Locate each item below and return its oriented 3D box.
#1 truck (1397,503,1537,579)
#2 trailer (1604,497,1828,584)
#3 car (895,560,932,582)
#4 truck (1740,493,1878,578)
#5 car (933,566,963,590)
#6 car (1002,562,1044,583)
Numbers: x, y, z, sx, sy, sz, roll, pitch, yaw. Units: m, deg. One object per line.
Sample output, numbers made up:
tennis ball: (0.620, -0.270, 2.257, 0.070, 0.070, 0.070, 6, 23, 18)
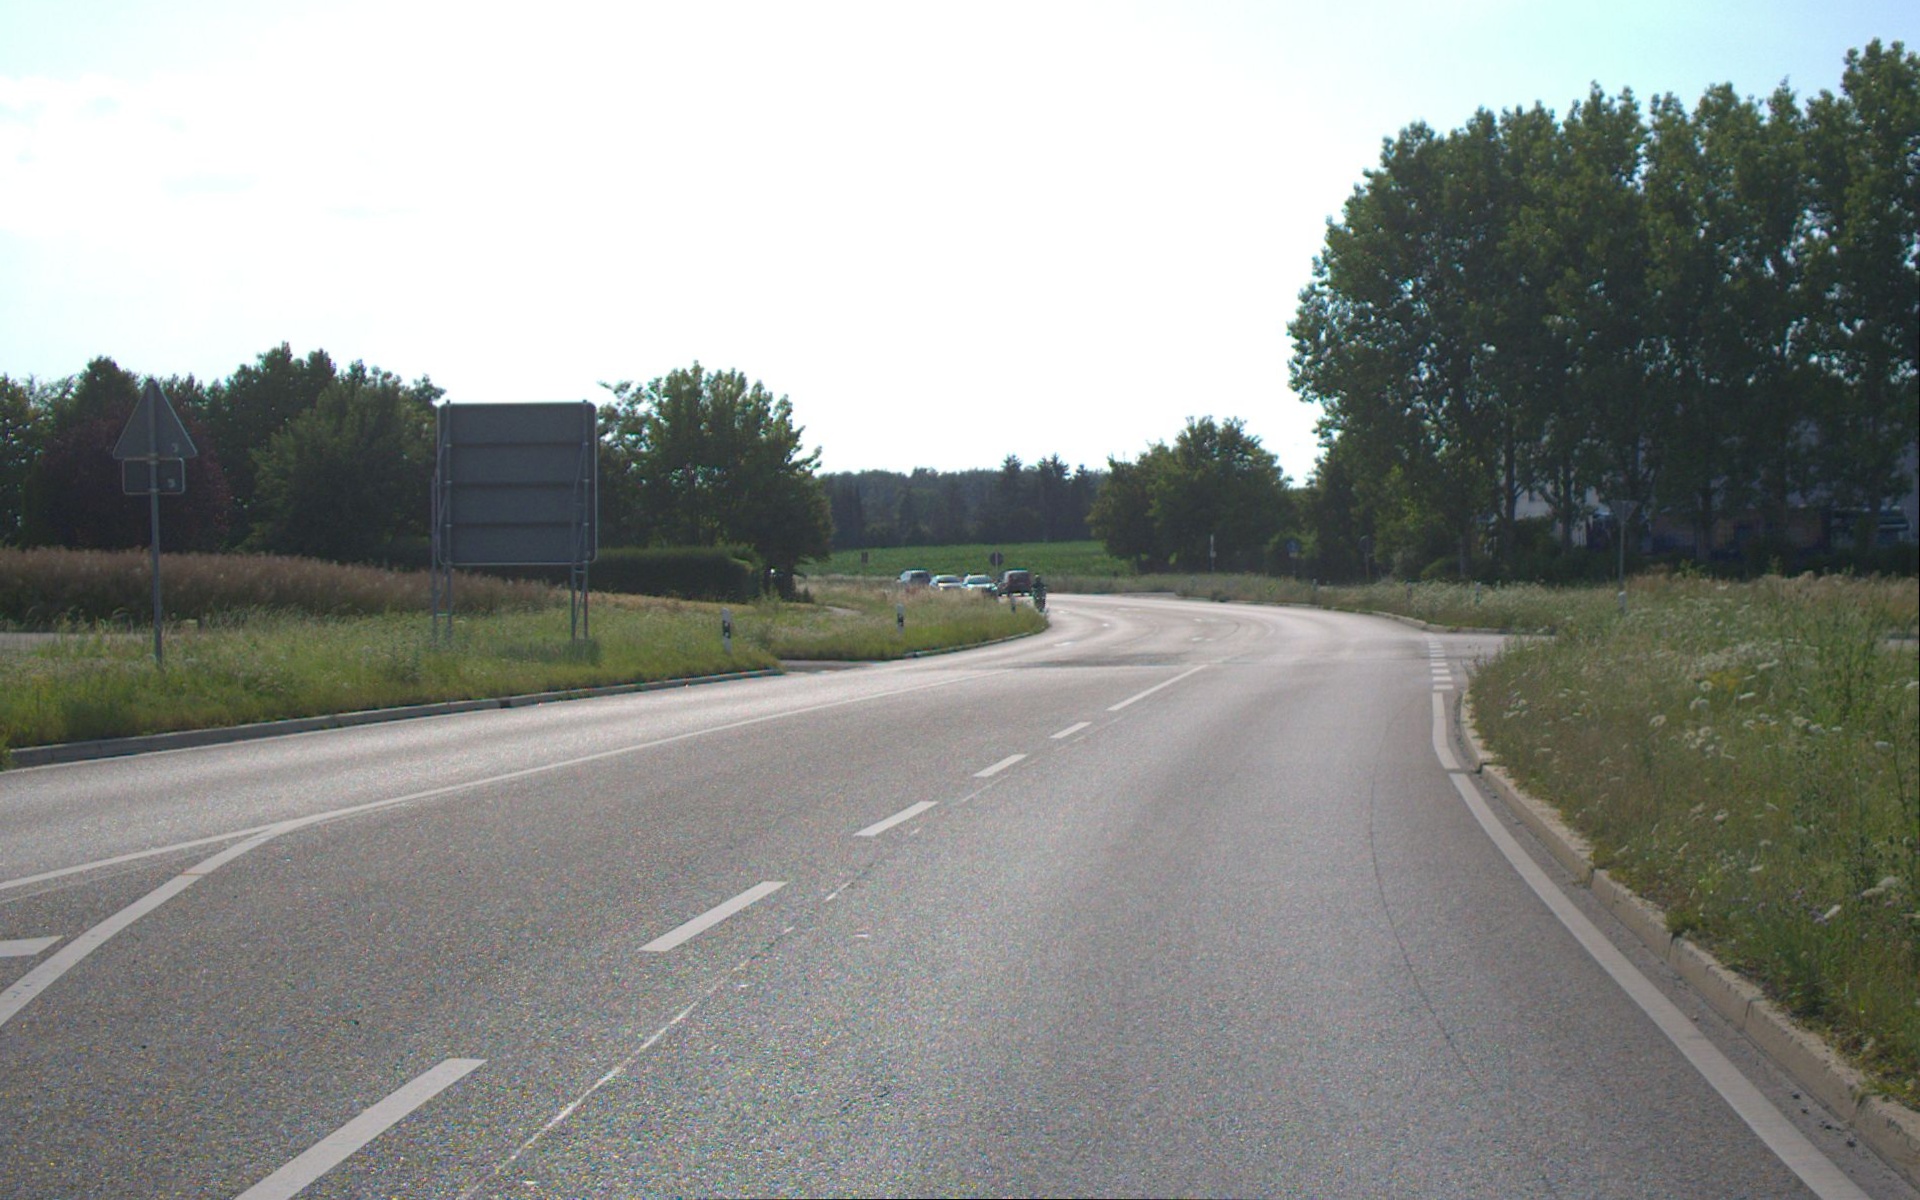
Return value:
truck: (23.757, -2.729, 161.787, 2.510, 3.365, 9.688, 2, 0, -17)
trailer: (31.836, -2.436, 145.665, 2.683, 3.131, 13.273, 2, -2, -19)
car: (-3.170, -1.977, 234.563, 1.850, 1.403, 3.645, 2, 0, -11)
truck: (34.239, -2.553, 138.792, 2.619, 3.151, 5.711, 2, -1, -19)
car: (-0.736, -1.344, 209.002, 1.684, 1.344, 3.633, 2, 1, 2)
car: (3.772, -1.637, 206.774, 1.967, 1.147, 3.868, 2, 0, -7)
